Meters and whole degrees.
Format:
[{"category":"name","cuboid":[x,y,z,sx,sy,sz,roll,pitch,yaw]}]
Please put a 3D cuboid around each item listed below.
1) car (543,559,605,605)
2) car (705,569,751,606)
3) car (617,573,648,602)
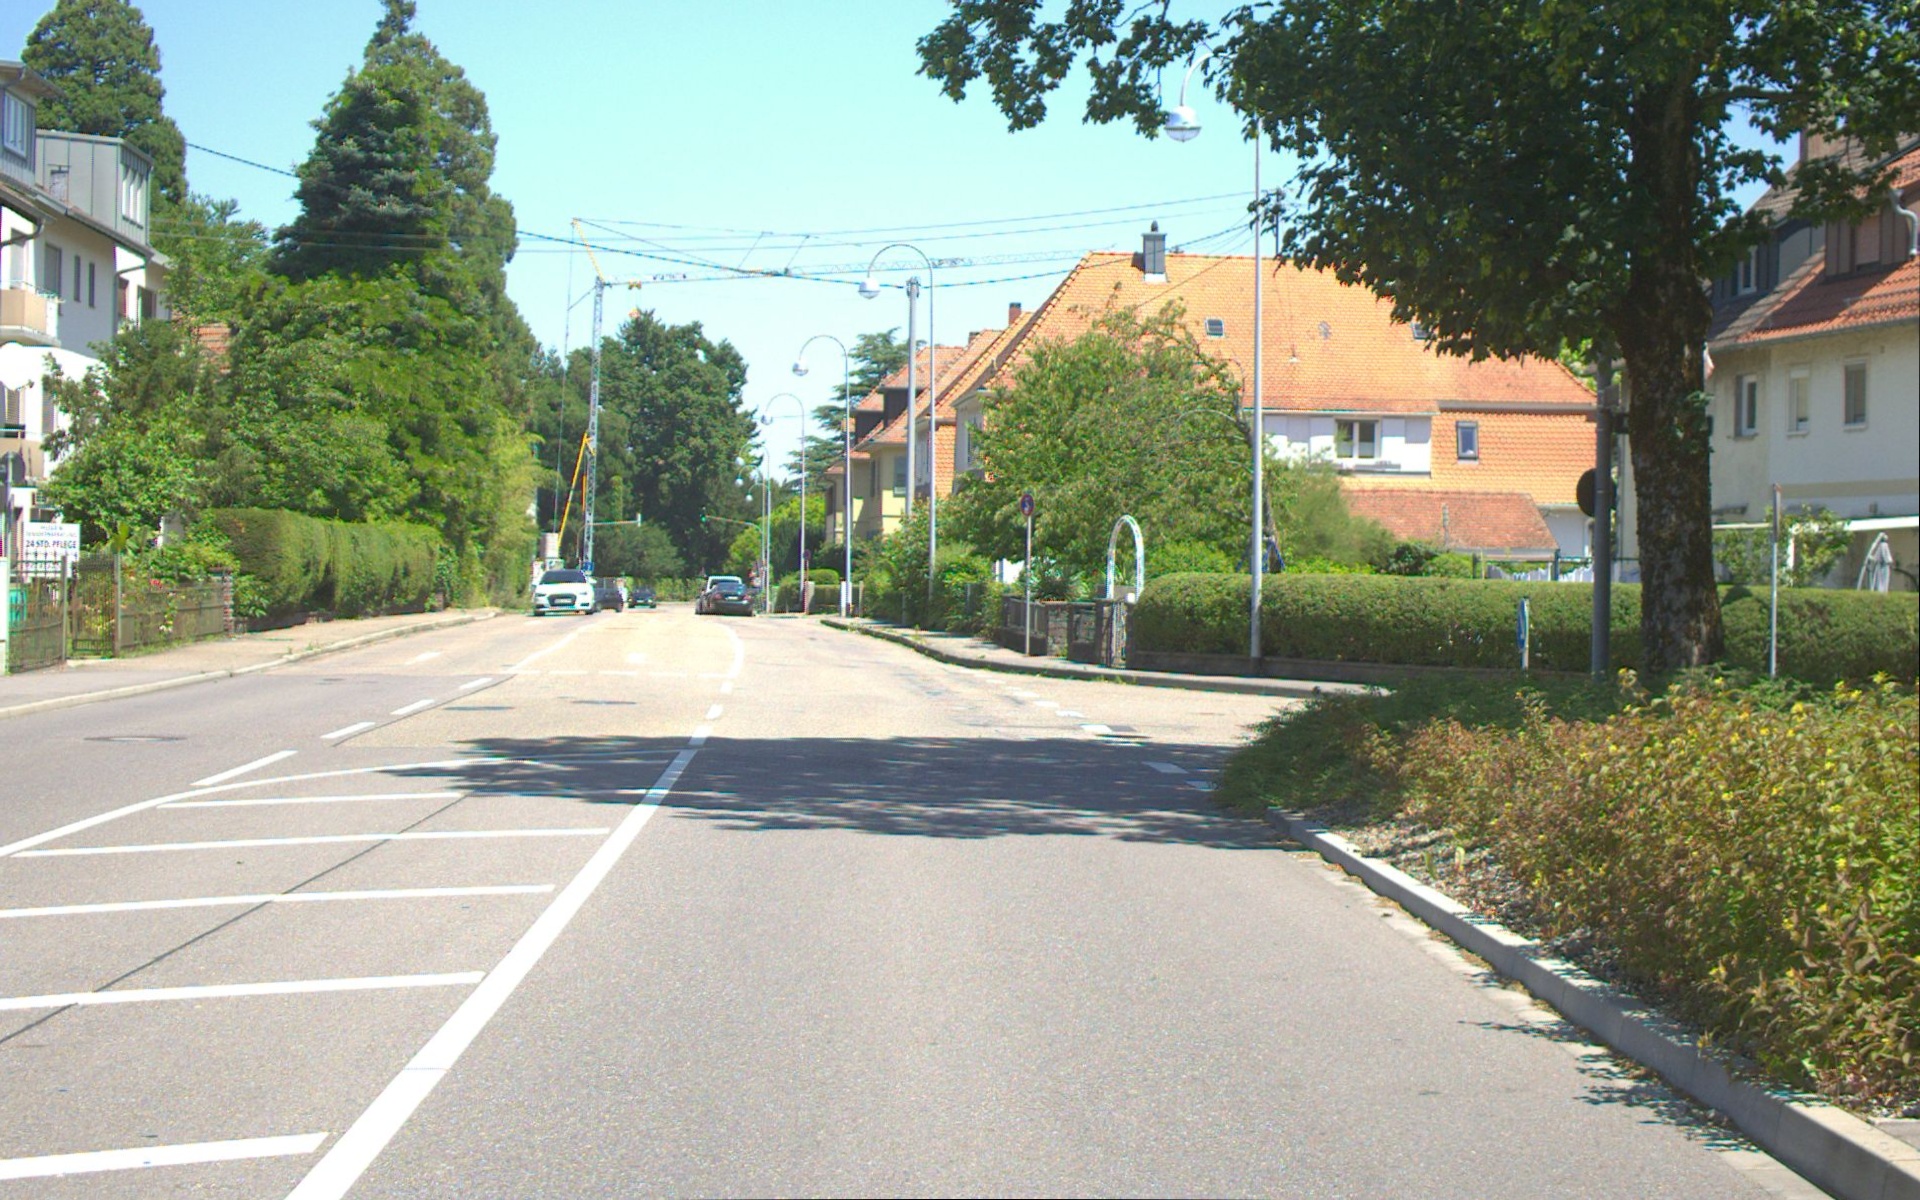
[{"category":"car","cuboid":[-11.772,-0.564,105.028,1.680,1.368,4.207,0,1,-4]},{"category":"car","cuboid":[-9.670,-0.502,143.121,1.692,1.414,4.551,2,-1,-6]},{"category":"car","cuboid":[-23.464,-0.905,246.611,1.993,1.844,4.712,1,2,-3]}]
